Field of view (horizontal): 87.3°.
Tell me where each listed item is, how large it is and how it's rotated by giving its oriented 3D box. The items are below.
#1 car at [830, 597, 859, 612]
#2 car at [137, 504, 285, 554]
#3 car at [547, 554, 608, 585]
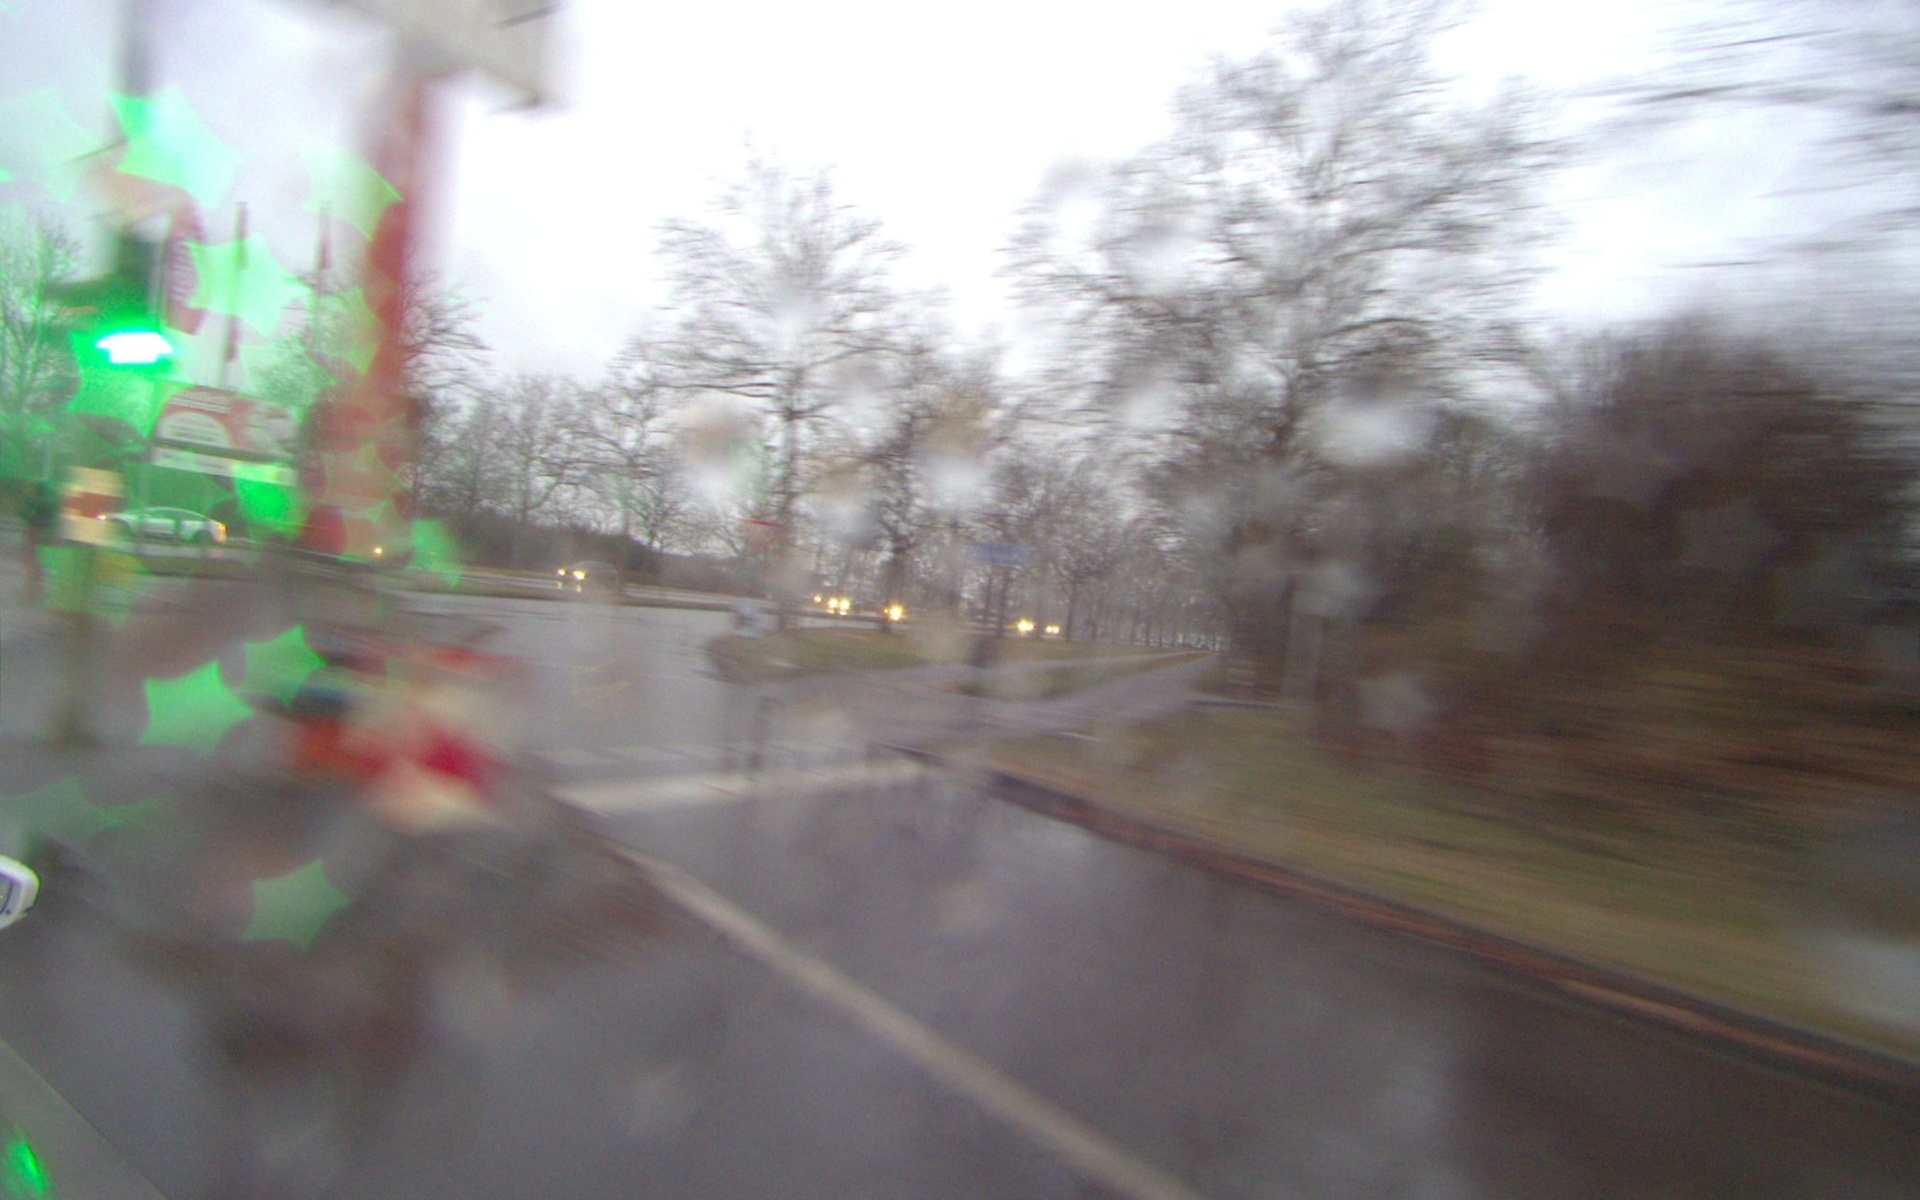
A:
[{"bbox_3d":[-12.599,0.516,110.134,1.627,1.361,3.891,7,-1,18],"label":"car"},{"bbox_3d":[-32.033,-3.019,43.131,1.857,1.392,4.733,7,-1,42],"label":"car"},{"bbox_3d":[-25.538,-2.015,67.277,1.627,1.655,3.891,7,-1,18],"label":"car"}]
